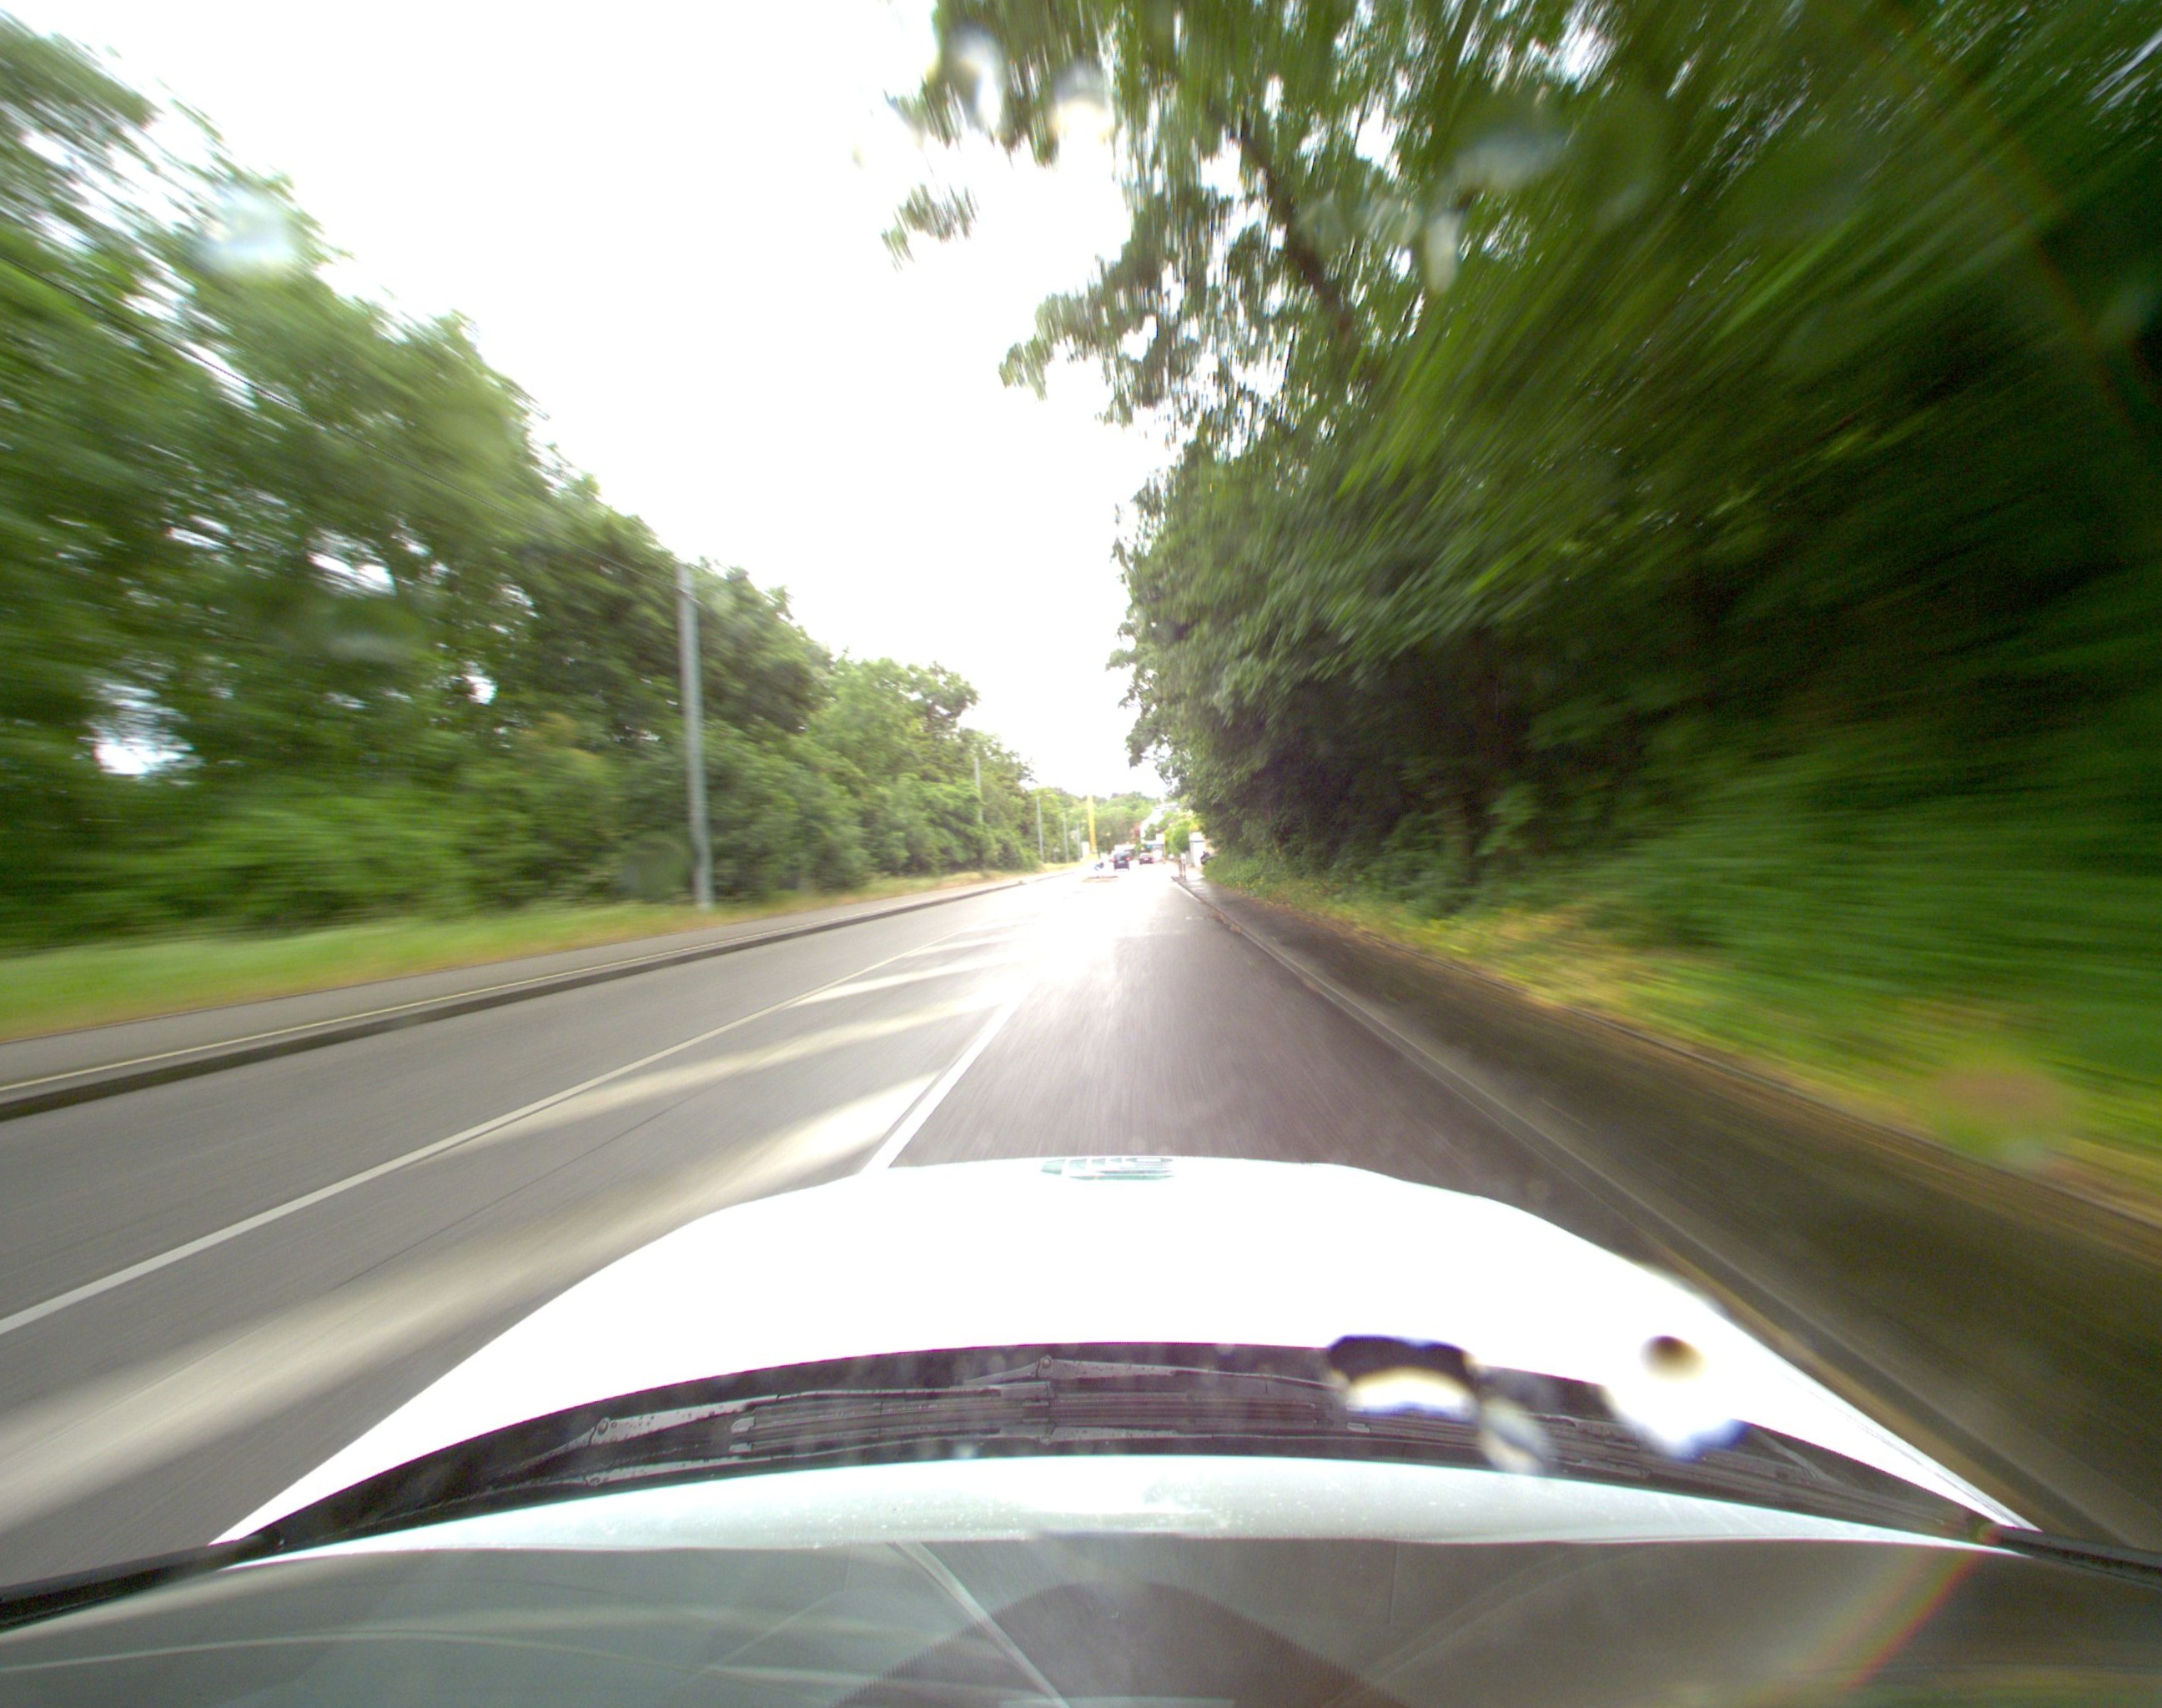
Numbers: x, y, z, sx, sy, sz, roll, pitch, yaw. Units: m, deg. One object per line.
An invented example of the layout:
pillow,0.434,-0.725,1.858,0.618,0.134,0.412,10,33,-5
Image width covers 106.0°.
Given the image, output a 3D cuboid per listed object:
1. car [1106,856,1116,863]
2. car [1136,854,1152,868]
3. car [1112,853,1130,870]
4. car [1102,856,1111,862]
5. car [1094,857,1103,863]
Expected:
car,7.886,1.463,214.859,1.740,1.552,3.843,-3,0,-9
car,8.515,0.951,109.682,1.984,1.772,4.119,-1,0,5
car,4.052,0.751,81.550,1.660,1.594,3.687,-2,0,5
car,6.834,1.406,220.161,1.740,1.552,3.843,-1,-1,-9
car,4.906,1.704,227.197,1.740,1.552,3.843,-3,0,-9
